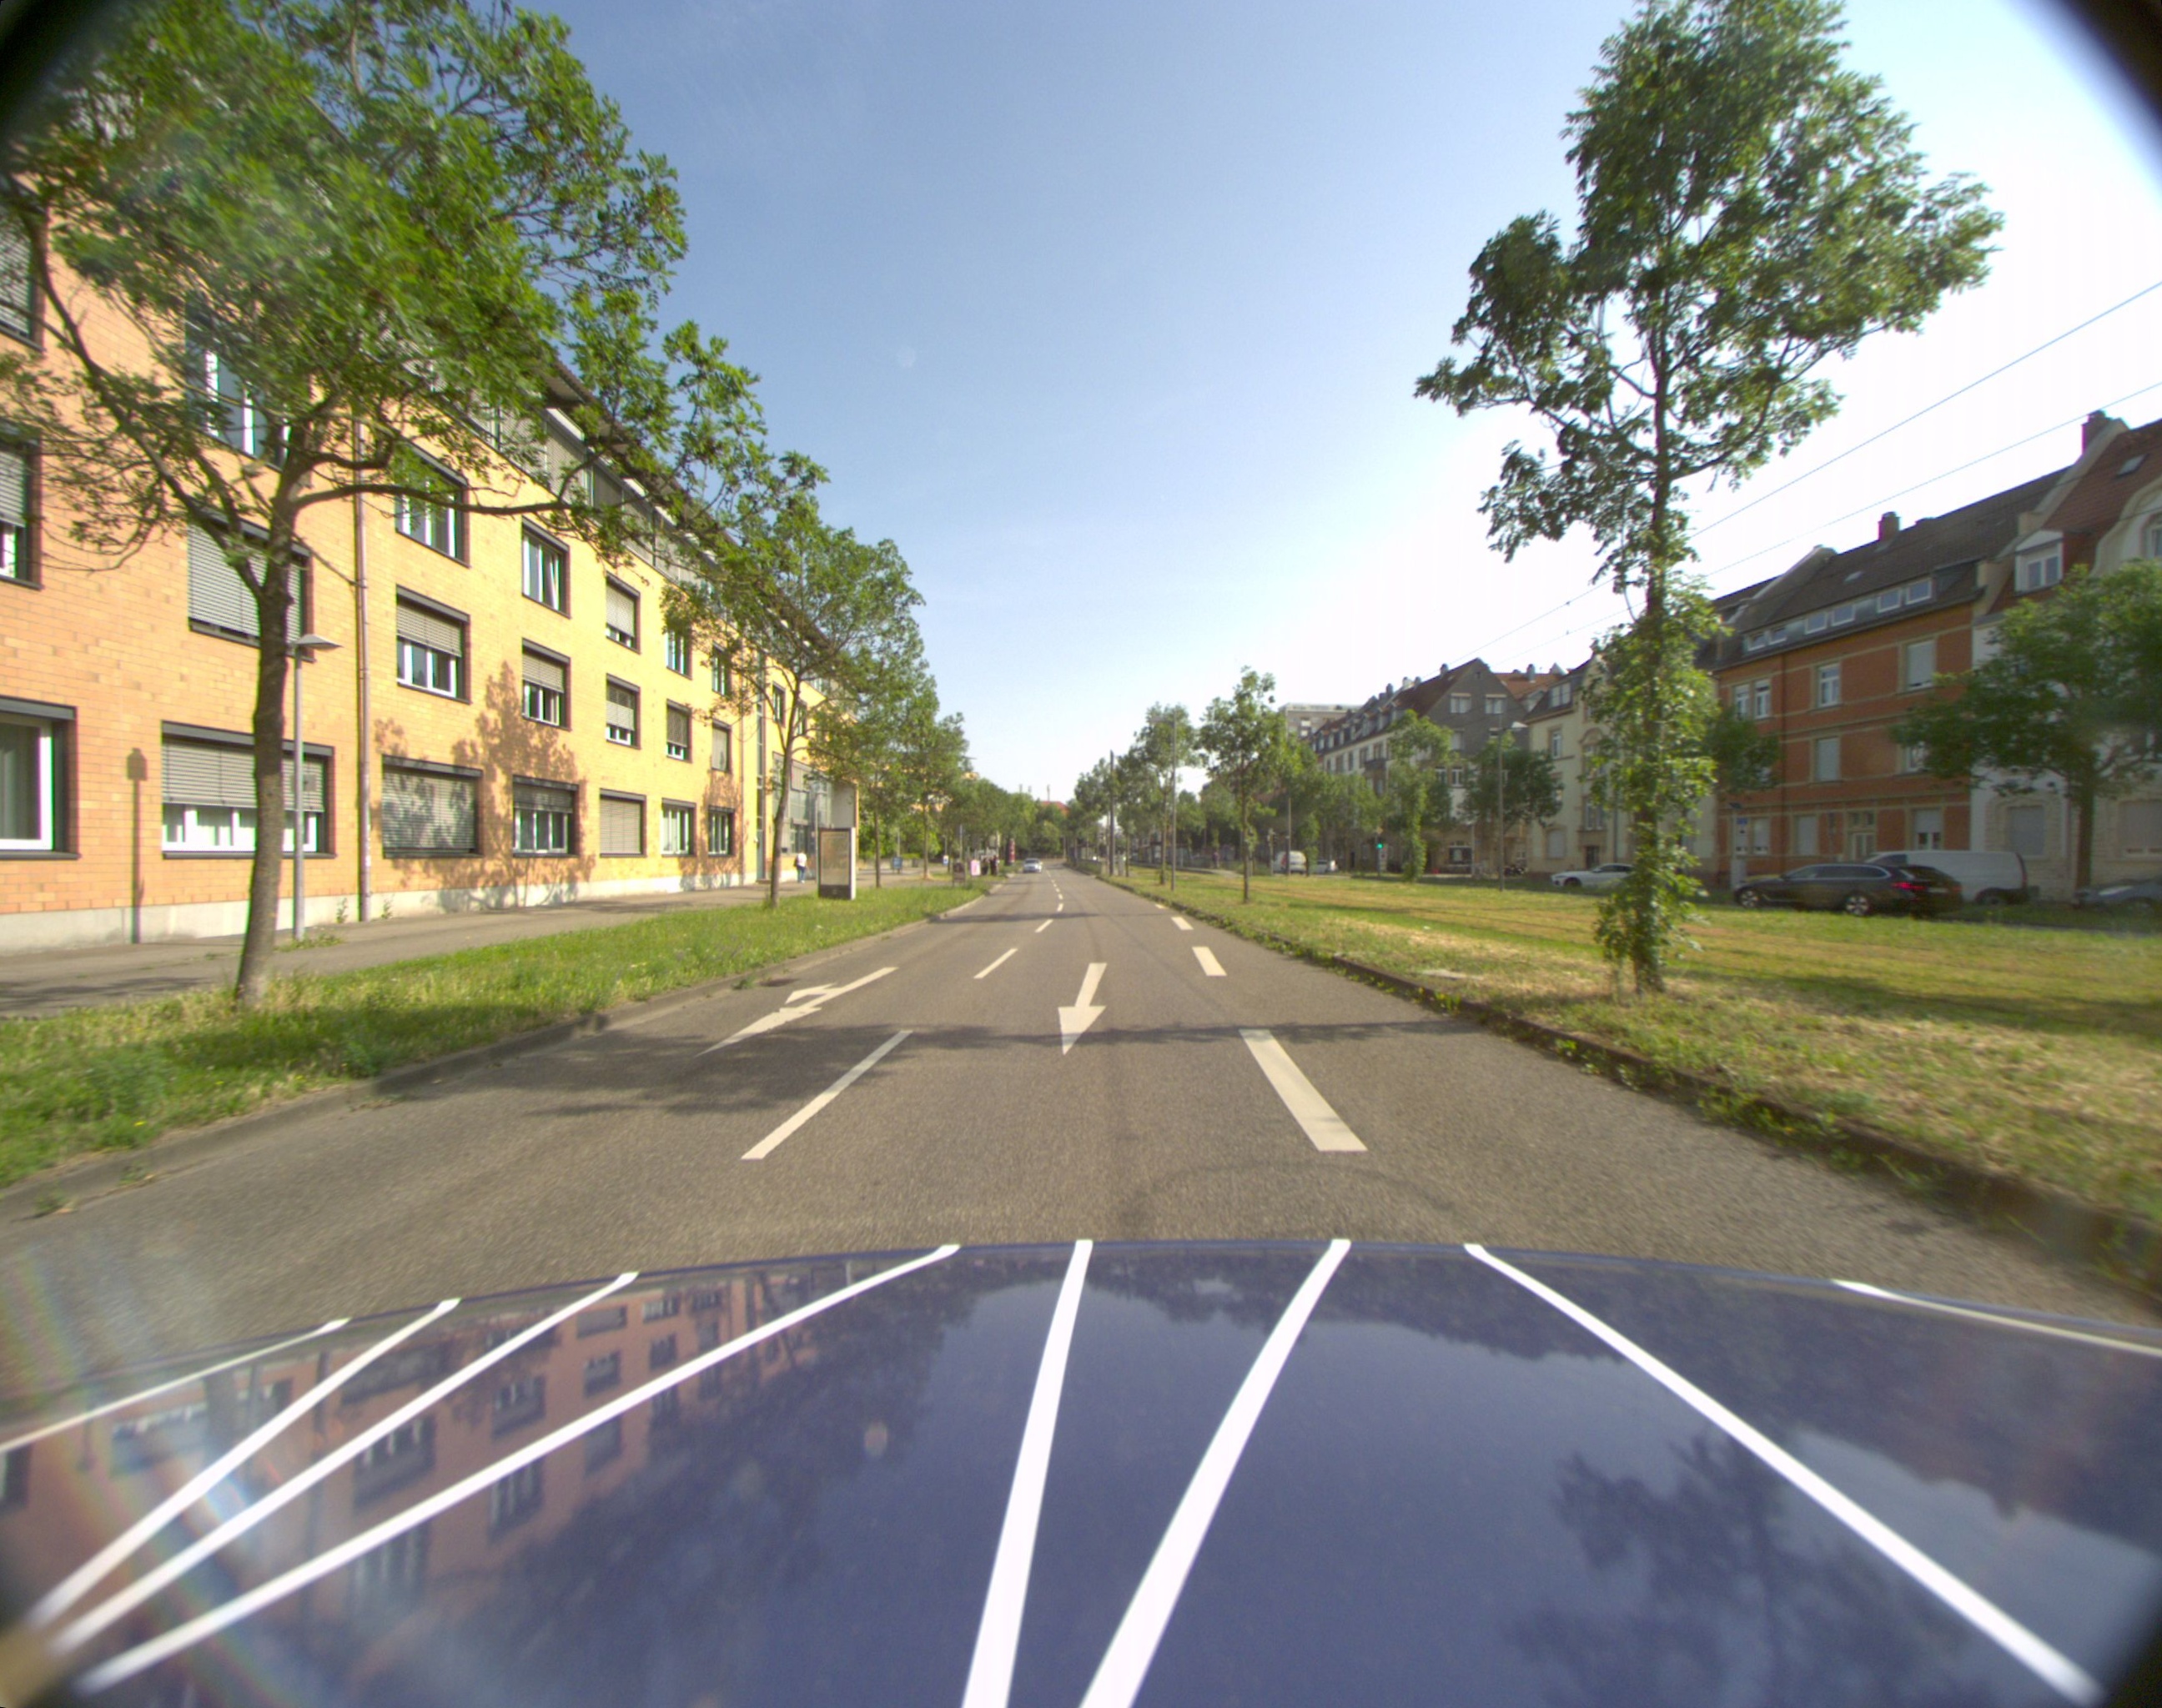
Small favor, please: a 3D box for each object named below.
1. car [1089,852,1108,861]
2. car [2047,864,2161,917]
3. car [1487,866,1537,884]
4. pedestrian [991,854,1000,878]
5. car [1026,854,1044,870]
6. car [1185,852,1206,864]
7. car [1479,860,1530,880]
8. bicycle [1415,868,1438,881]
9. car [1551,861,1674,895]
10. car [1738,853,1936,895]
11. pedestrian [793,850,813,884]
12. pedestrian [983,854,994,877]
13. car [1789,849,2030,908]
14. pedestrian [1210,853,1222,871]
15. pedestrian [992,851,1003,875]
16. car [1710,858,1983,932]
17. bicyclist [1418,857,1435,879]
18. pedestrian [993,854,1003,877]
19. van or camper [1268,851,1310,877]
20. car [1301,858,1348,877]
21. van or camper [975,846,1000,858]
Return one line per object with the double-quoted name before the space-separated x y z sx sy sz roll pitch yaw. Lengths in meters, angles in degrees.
"car" 4.109 0.581 180.142 4.007 2.002 1.994 -3 1 -41
"car" 26.331 0.846 18.171 3.677 1.234 1.529 -2 -1 31
"car" 35.579 1.726 62.823 1.672 1.291 3.998 0 1 -3
"pedestrian" -5.999 0.841 53.369 0.636 1.637 0.608 1 1 -7
"car" -4.428 0.754 73.514 1.629 1.476 3.364 -3 1 -4
"car" 15.141 0.529 100.716 1.839 1.524 4.575 -2 1 -3
"car" 39.201 1.475 70.353 3.824 1.574 1.603 -3 1 -2
"bicycle" 25.270 1.497 55.628 0.857 0.860 2.020 -2 1 4
"car" 25.969 1.173 37.354 4.765 1.477 2.026 -1 2 29
"car" 26.703 0.725 27.102 4.688 1.340 1.860 -2 1 32
"pedestrian" -13.659 0.619 37.353 0.698 1.647 0.772 1 1 -3
"pedestrian" -6.681 0.848 54.973 0.707 1.637 0.689 1 1 -5
"car" 26.526 0.798 24.616 4.939 1.716 1.860 -2 1 32
"pedestrian" 12.171 0.703 68.502 0.886 1.645 0.852 0 1 -5
"pedestrian" -5.741 0.637 52.136 0.707 1.637 0.689 1 1 -5
"car" 20.981 1.010 21.278 1.999 1.621 5.377 -3 1 -4
"bicyclist" 25.275 0.995 55.620 0.848 1.550 0.903 -2 1 5
"pedestrian" -5.923 0.825 54.287 0.707 1.637 0.689 1 1 -6
"van or camper" 18.572 0.850 68.242 1.957 2.085 5.350 -3 1 -4
"car" 23.991 1.364 74.760 3.989 1.716 2.003 -2 1 32
"van or camper" -22.352 -0.508 181.192 5.803 2.678 2.407 -2 1 -6
